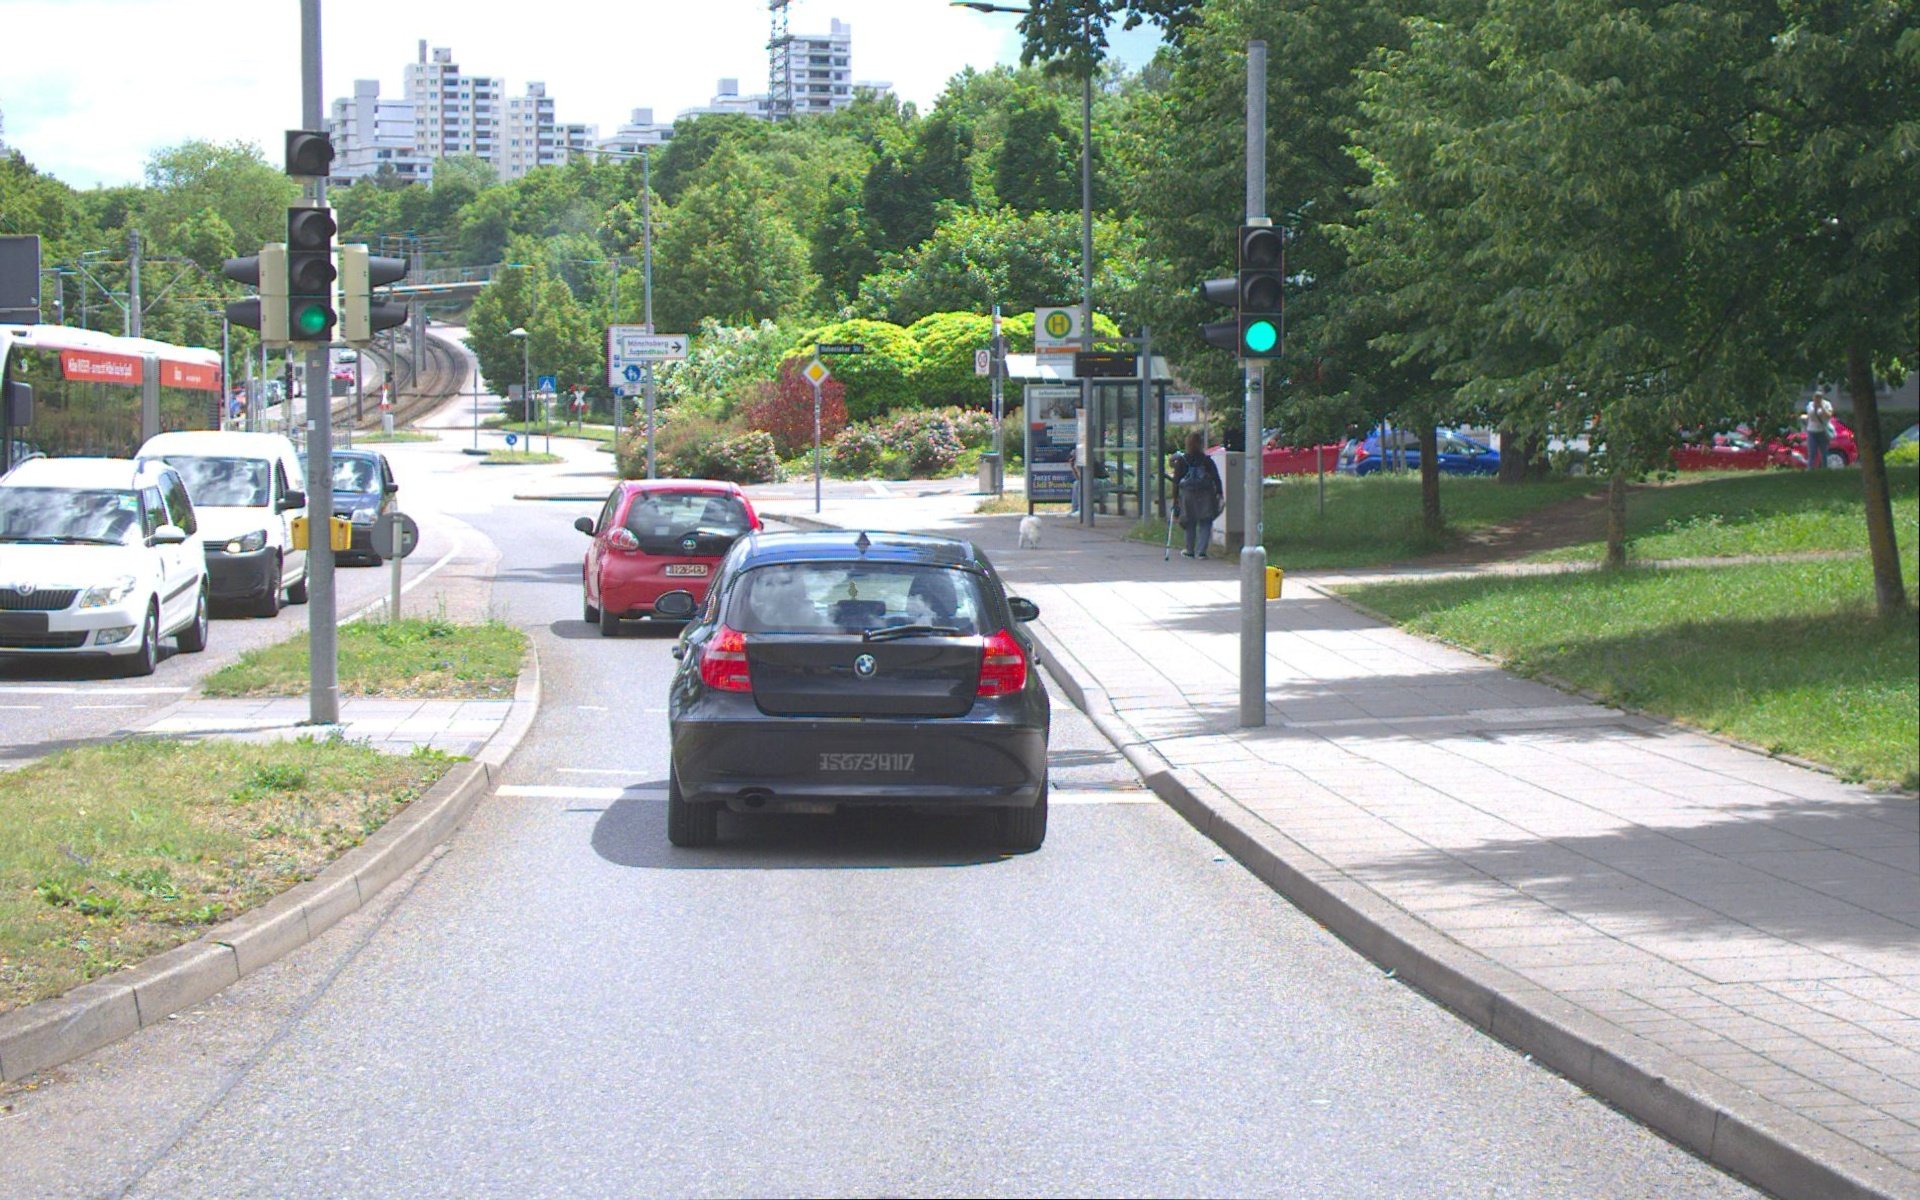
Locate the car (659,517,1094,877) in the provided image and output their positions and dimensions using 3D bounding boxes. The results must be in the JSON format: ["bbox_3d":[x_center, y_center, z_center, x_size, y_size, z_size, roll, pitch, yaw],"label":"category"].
[{"bbox_3d":[-0.522,0.364,16.696,1.815,1.416,4.001,-1,3,-5],"label":"car"}]

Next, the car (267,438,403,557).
[{"bbox_3d":[-8.597,-1.446,47.469,1.529,1.545,3.734,1,3,-6],"label":"car"}]

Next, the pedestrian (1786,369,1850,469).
[{"bbox_3d":[15.250,-3.209,61.107,0.986,1.754,0.858,-1,2,5],"label":"pedestrian"}]

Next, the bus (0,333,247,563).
[{"bbox_3d":[-12.416,-2.277,50.360,2.725,3.059,8.966,0,3,-4],"label":"bus"}]

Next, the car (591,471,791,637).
[{"bbox_3d":[-2.530,-0.482,33.033,1.765,1.427,3.480,-1,3,-2],"label":"car"}]

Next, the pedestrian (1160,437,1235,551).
[{"bbox_3d":[2.993,-1.345,43.402,0.819,1.419,0.830,-1,2,-4],"label":"pedestrian"}]

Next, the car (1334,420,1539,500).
[{"bbox_3d":[9.783,-2.895,70.727,3.792,1.451,1.897,-2,5,-7],"label":"car"}]

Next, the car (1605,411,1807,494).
[{"bbox_3d":[15.497,-3.083,71.508,3.686,1.637,1.831,0,5,-7],"label":"car"}]

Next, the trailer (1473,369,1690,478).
[{"bbox_3d":[14.533,-4.144,80.555,4.536,2.478,2.222,0,5,-6],"label":"trailer"}]

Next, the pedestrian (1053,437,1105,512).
[{"bbox_3d":[2.042,-2.155,59.054,0.827,1.254,0.686,-1,3,-2],"label":"pedestrian"}]

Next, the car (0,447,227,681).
[{"bbox_3d":[-6.955,-0.347,27.140,1.699,1.643,4.080,0,3,-3],"label":"car"}]

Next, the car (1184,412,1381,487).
[{"bbox_3d":[7.434,-3.494,79.516,4.155,1.556,2.001,-1,6,-10],"label":"car"}]

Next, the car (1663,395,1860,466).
[{"bbox_3d":[18.879,-4.006,81.031,4.080,1.497,2.001,-2,5,-7],"label":"car"}]

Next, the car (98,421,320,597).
[{"bbox_3d":[-7.641,-0.895,35.327,1.761,1.657,4.507,-1,1,-7],"label":"car"}]

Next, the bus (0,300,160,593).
[{"bbox_3d":[-11.688,-1.848,41.012,2.725,3.098,9.707,0,3,-4],"label":"bus"}]
